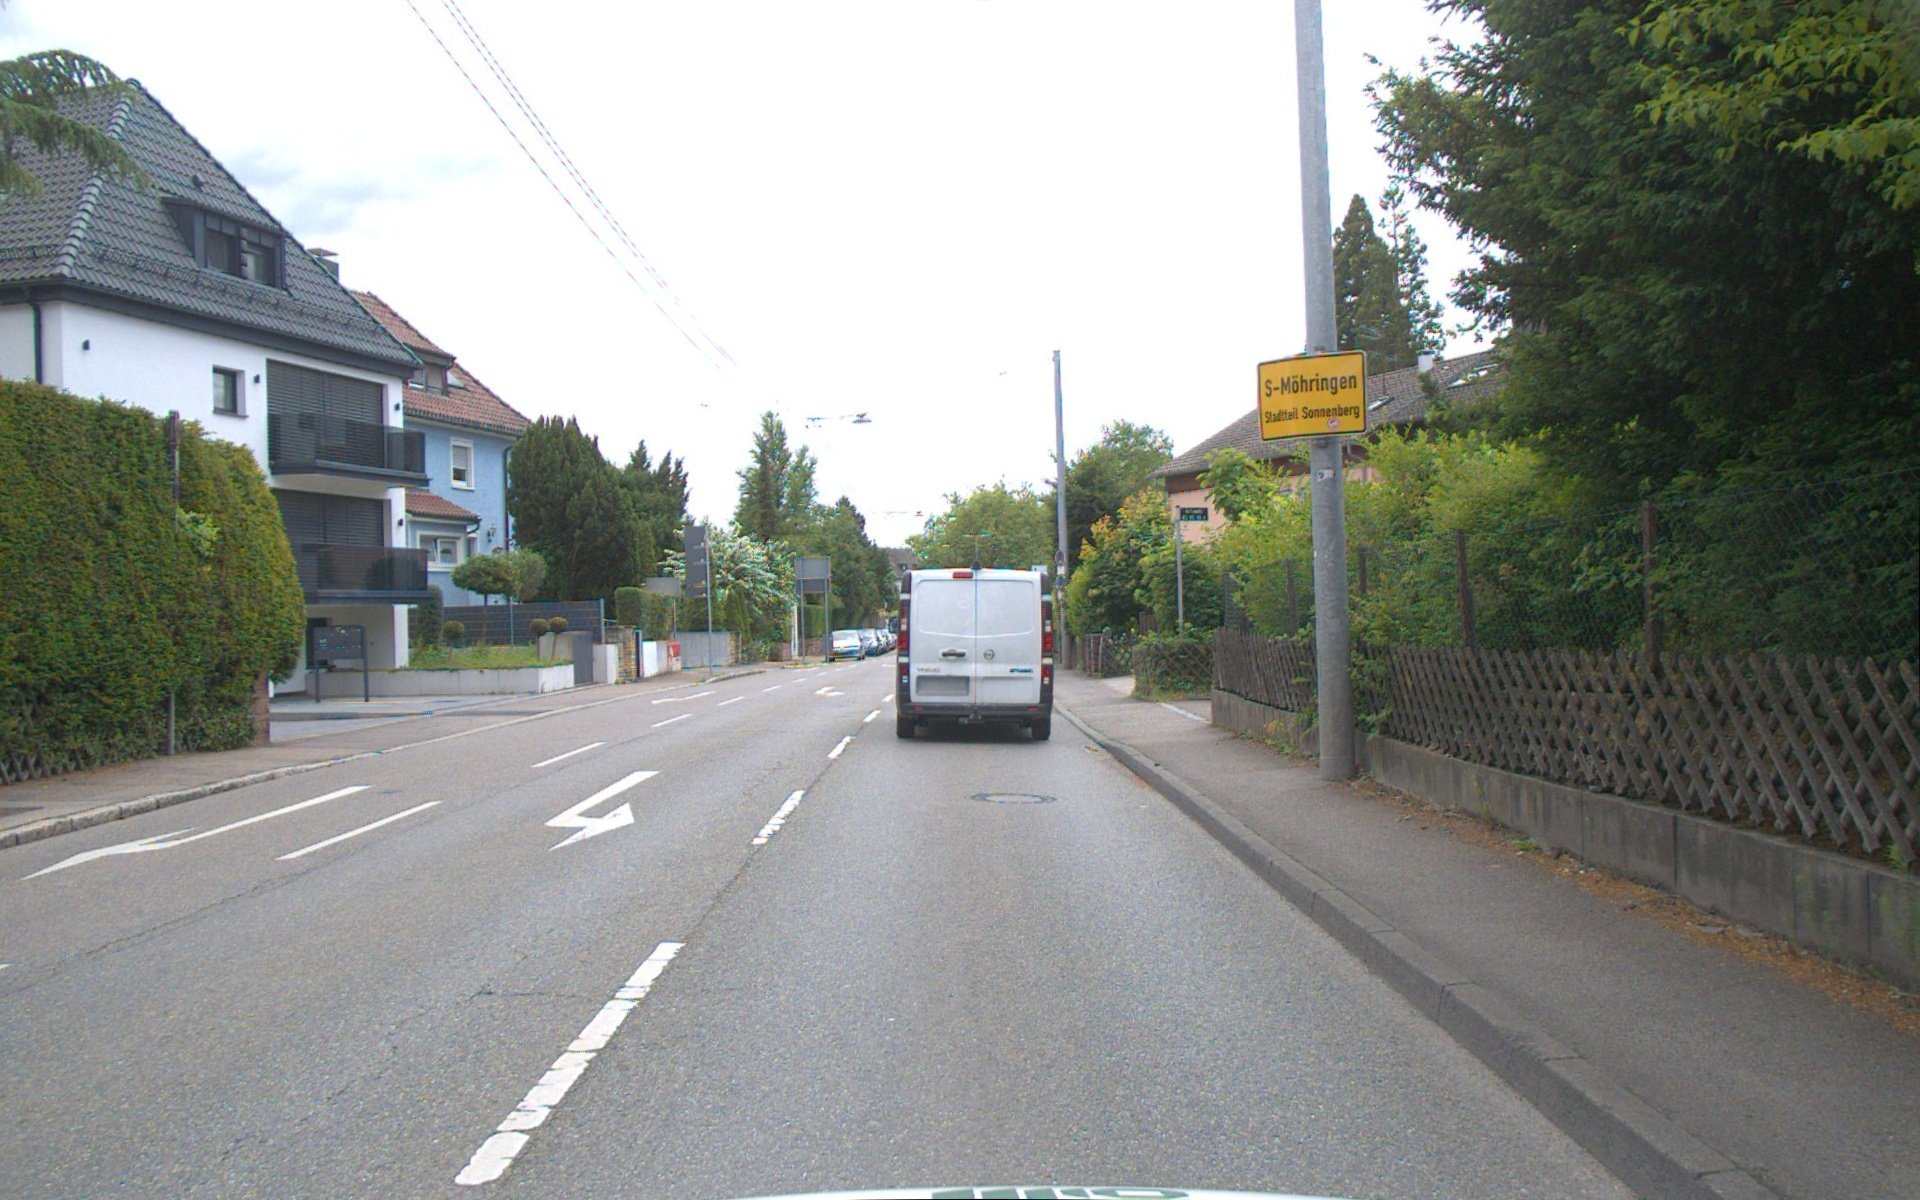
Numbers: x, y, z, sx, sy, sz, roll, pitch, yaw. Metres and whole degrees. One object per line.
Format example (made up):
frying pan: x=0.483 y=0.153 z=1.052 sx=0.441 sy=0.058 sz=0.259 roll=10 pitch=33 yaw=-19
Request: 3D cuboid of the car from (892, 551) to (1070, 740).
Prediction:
car: x=0.218 y=0.537 z=20.872 sx=1.965 sy=2.074 sz=5.009 roll=1 pitch=-1 yaw=0

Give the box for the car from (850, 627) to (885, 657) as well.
car: x=-5.295 y=2.411 z=94.940 sx=1.644 sy=1.583 sz=3.971 roll=-3 pitch=-1 yaw=0

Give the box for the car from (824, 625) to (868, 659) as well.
car: x=-5.511 y=2.010 z=80.209 sx=1.773 sy=1.481 sz=4.412 roll=-4 pitch=-1 yaw=-1

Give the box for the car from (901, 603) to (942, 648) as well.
car: x=-2.266 y=1.506 z=98.433 sx=2.068 sy=2.542 sz=6.125 roll=-2 pitch=-1 yaw=1
